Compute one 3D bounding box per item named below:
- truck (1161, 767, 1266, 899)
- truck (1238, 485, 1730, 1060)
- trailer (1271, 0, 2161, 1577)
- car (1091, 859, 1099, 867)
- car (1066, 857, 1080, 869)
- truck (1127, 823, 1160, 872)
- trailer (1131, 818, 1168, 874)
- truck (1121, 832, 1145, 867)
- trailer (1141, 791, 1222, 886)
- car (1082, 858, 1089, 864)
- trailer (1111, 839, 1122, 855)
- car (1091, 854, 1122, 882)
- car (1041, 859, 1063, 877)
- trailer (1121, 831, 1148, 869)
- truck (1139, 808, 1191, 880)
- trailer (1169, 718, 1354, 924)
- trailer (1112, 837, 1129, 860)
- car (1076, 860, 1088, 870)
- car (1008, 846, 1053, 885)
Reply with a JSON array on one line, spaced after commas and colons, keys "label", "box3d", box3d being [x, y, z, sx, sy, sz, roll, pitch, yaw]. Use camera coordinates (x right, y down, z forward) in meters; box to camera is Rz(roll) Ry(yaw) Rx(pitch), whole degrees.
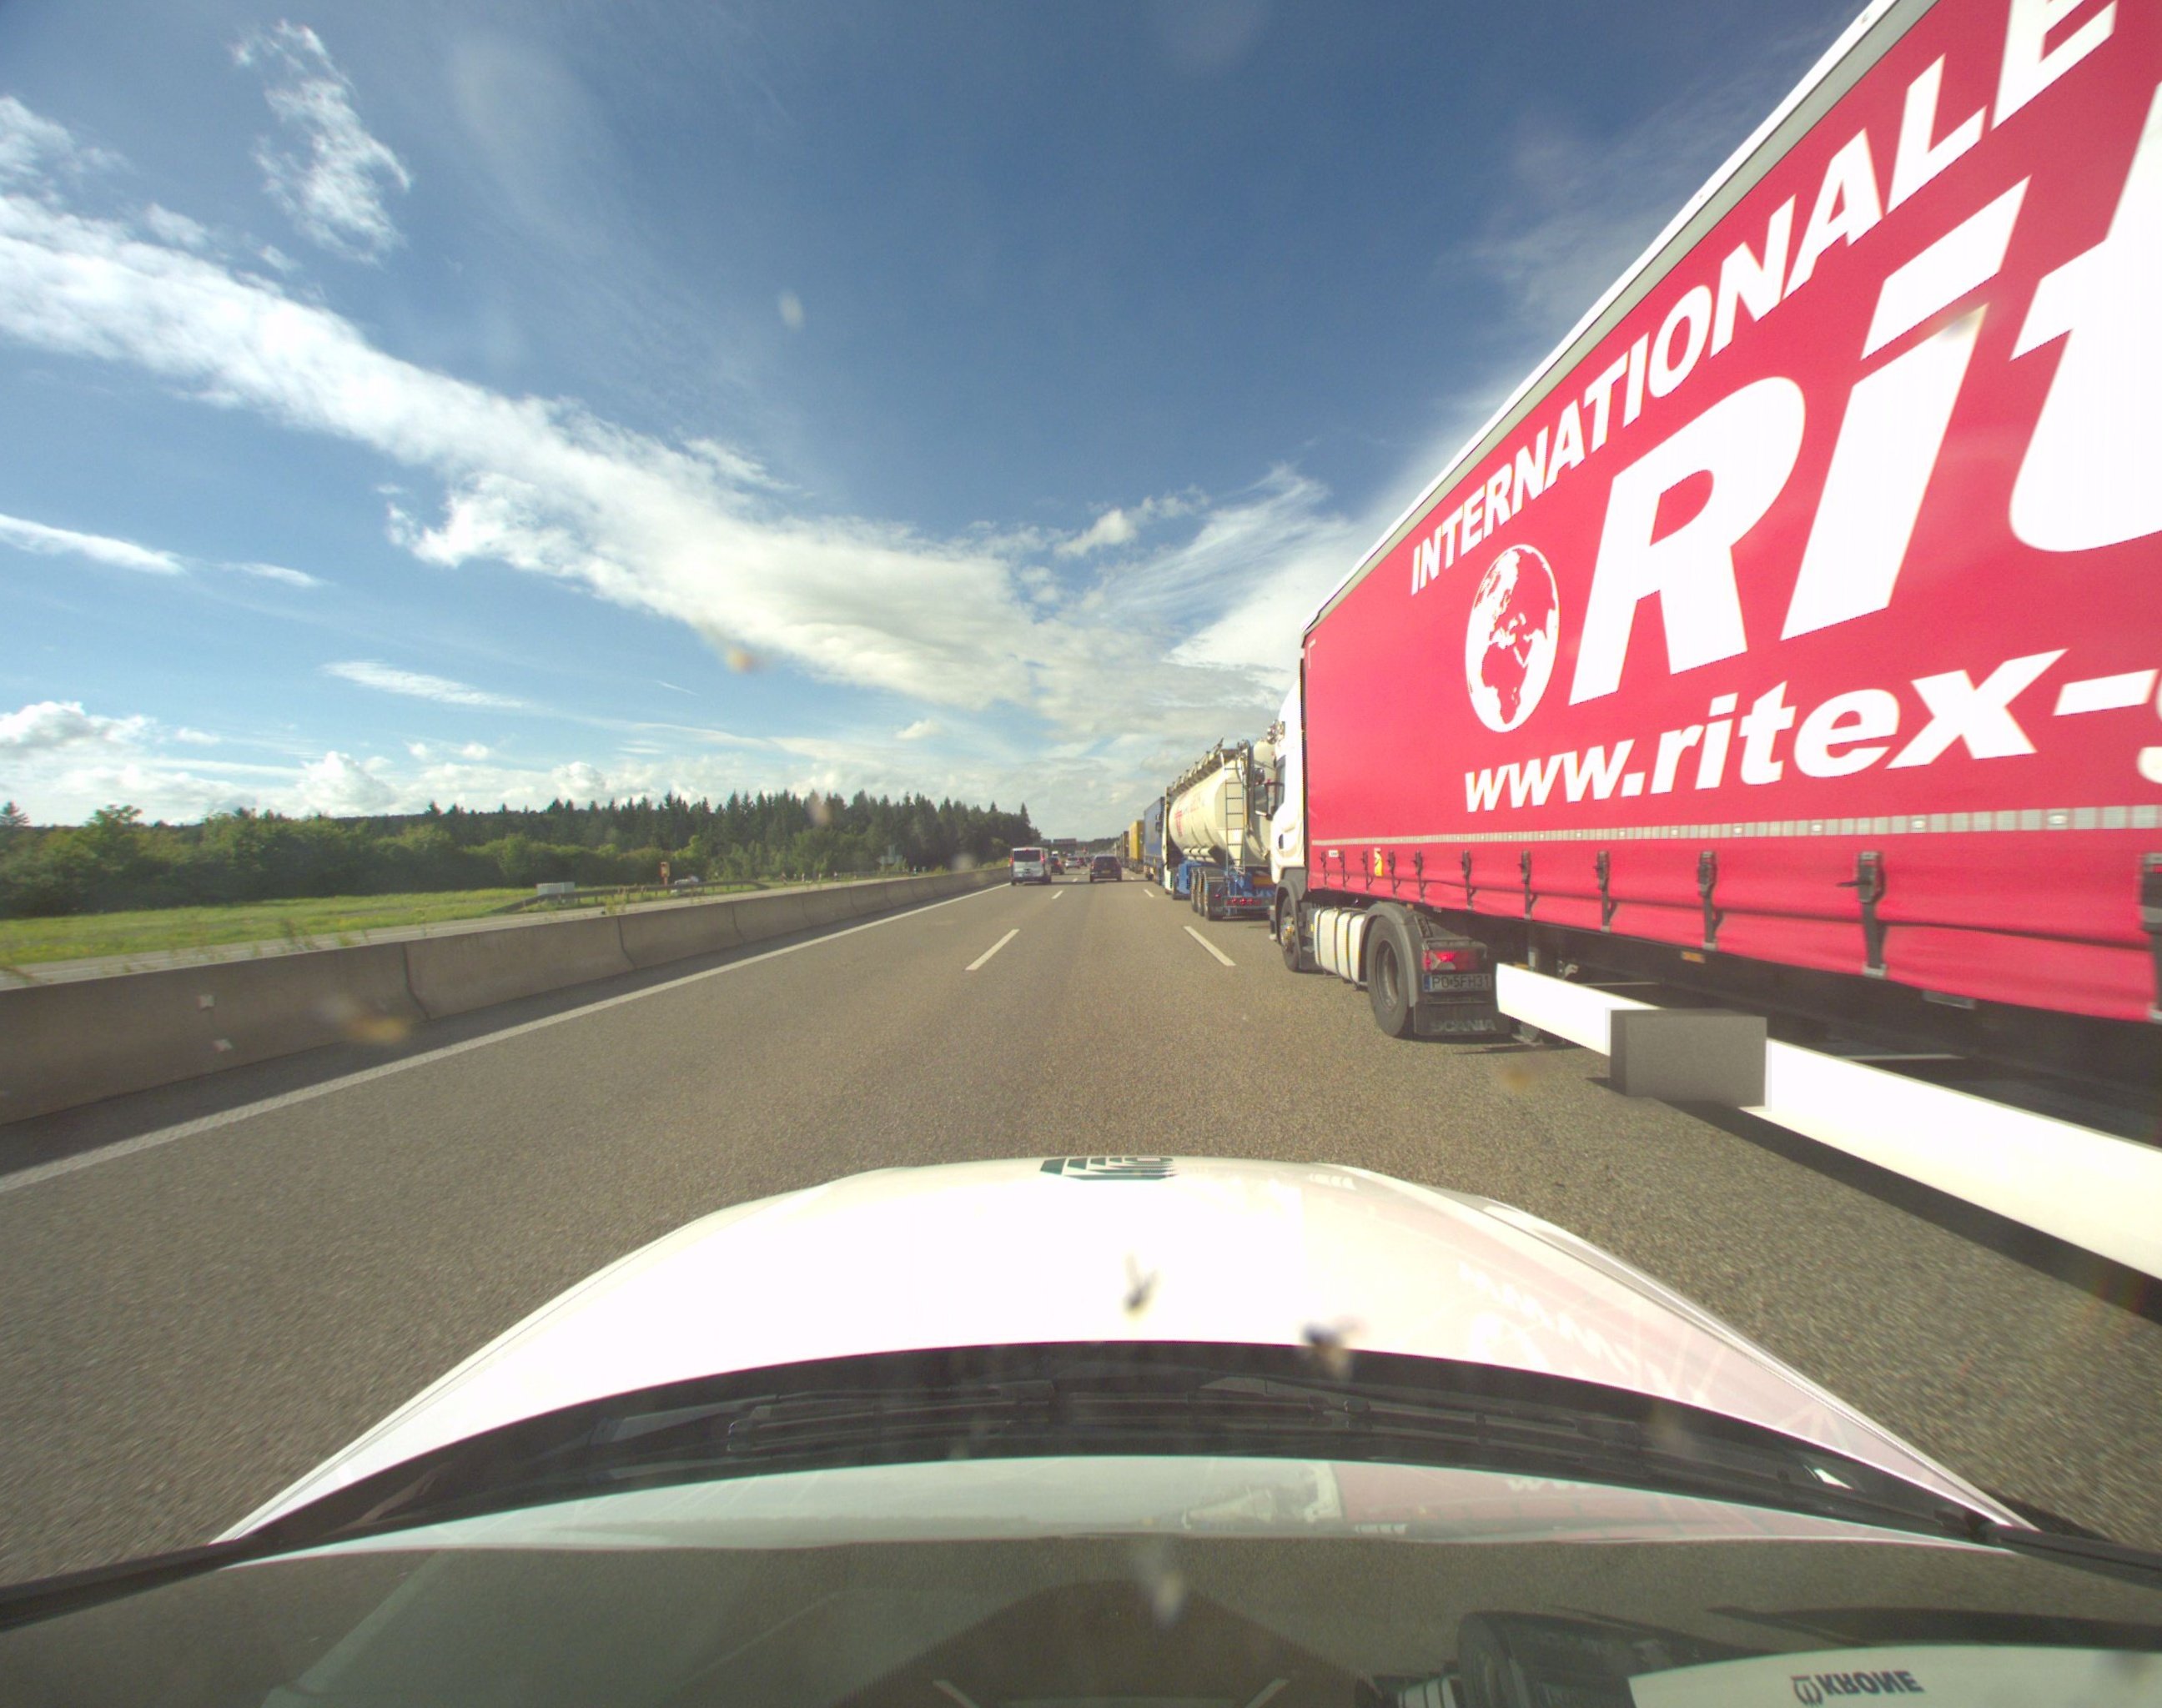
[{"label": "truck", "box3d": [4.279, -0.596, 27.739, 2.639, 3.925, 6.944, 0, -1, 2]}, {"label": "truck", "box3d": [3.437, -0.559, 8.838, 2.356, 4.021, 6.108, -2, -1, 2]}, {"label": "trailer", "box3d": [3.257, -0.601, 2.463, 2.320, 3.997, 14.303, -1, -1, 2]}, {"label": "car", "box3d": [2.321, 1.514, 137.179, 1.355, 1.396, 3.086, 0, -1, 2]}, {"label": "car", "box3d": [-0.926, 1.027, 95.556, 1.494, 1.396, 3.477, 0, -1, 2]}, {"label": "truck", "box3d": [5.505, -0.541, 73.011, 2.403, 4.068, 9.668, 0, 0, 2]}, {"label": "trailer", "box3d": [5.237, -0.548, 63.701, 2.403, 4.068, 8.929, 0, 0, 2]}, {"label": "truck", "box3d": [6.323, -0.509, 100.591, 2.729, 4.038, 10.209, 0, -1, 3]}, {"label": "trailer", "box3d": [4.865, -0.629, 42.262, 2.633, 4.098, 13.981, 0, 0, 1]}, {"label": "car", "box3d": [1.069, 1.698, 188.861, 1.429, 1.310, 3.534, 0, -1, 1]}, {"label": "trailer", "box3d": [10.136, -1.842, 232.454, 2.791, 4.244, 11.063, -4, -1, 3]}, {"label": "car", "box3d": [1.441, 0.769, 46.185, 1.690, 1.483, 4.161, 0, -1, 2]}, {"label": "car", "box3d": [-2.291, 1.113, 64.355, 1.494, 1.396, 3.477, 0, -1, 2]}, {"label": "trailer", "box3d": [5.935, -0.446, 91.122, 2.705, 3.961, 8.716, 0, 0, 2]}, {"label": "truck", "box3d": [5.002, -0.557, 49.582, 2.638, 4.089, 6.493, 0, -1, 1]}, {"label": "trailer", "box3d": [4.061, -0.626, 21.184, 2.636, 3.934, 11.179, 0, 0, 2]}, {"label": "trailer", "box3d": [6.976, -0.887, 144.891, 2.651, 3.869, 13.400, -3, -1, 2]}, {"label": "car", "box3d": [0.196, 1.589, 115.601, 1.575, 1.396, 3.209, 0, -1, 2]}, {"label": "car", "box3d": [-2.663, 0.608, 44.244, 1.925, 1.979, 5.100, 0, -1, 2]}]
